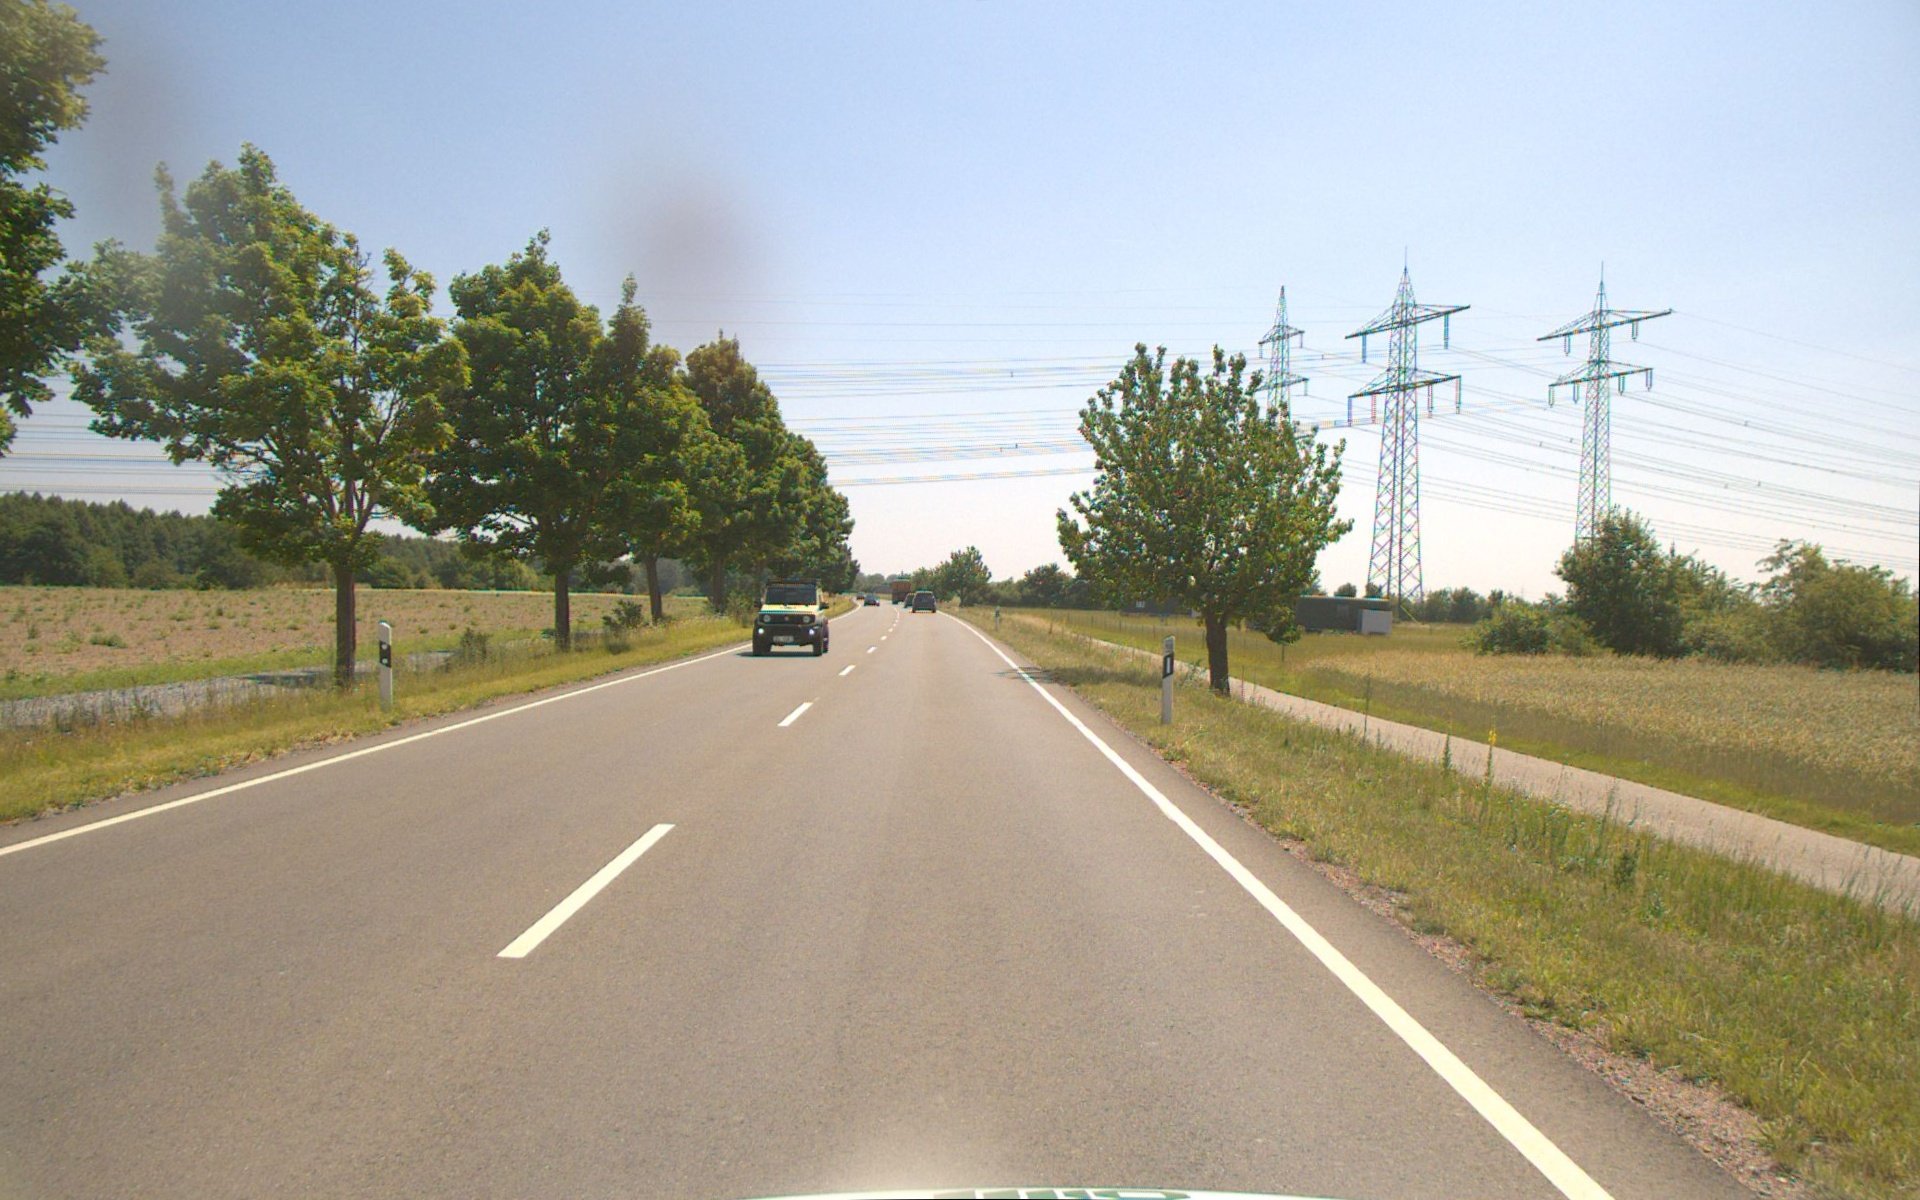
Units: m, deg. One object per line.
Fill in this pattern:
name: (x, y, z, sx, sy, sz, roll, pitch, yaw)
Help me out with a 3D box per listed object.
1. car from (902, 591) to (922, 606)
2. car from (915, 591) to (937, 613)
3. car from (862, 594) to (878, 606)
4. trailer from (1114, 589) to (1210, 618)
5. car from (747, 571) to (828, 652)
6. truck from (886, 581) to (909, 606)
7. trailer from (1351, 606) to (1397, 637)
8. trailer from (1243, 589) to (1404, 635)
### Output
car: (-4.934, -0.156, 168.905, 1.814, 1.549, 3.997, 1, 0, -4)
car: (-2.734, 0.152, 131.848, 1.680, 1.723, 3.987, 1, 0, -2)
car: (-10.119, 0.032, 186.245, 1.671, 1.356, 3.997, 1, 0, -4)
trailer: (26.979, 0.447, 220.891, 12.169, 3.533, 3.801, 2, 0, -5)
car: (-4.245, 0.274, 41.203, 1.647, 1.881, 3.999, 1, 0, -1)
truck: (-8.289, -0.840, 218.782, 2.325, 3.195, 8.735, 1, 0, -6)
trailer: (35.378, 1.839, 141.302, 3.340, 2.505, 2.036, 2, 0, -4)
trailer: (31.595, 1.061, 143.866, 13.242, 3.535, 3.274, 2, 0, -4)
